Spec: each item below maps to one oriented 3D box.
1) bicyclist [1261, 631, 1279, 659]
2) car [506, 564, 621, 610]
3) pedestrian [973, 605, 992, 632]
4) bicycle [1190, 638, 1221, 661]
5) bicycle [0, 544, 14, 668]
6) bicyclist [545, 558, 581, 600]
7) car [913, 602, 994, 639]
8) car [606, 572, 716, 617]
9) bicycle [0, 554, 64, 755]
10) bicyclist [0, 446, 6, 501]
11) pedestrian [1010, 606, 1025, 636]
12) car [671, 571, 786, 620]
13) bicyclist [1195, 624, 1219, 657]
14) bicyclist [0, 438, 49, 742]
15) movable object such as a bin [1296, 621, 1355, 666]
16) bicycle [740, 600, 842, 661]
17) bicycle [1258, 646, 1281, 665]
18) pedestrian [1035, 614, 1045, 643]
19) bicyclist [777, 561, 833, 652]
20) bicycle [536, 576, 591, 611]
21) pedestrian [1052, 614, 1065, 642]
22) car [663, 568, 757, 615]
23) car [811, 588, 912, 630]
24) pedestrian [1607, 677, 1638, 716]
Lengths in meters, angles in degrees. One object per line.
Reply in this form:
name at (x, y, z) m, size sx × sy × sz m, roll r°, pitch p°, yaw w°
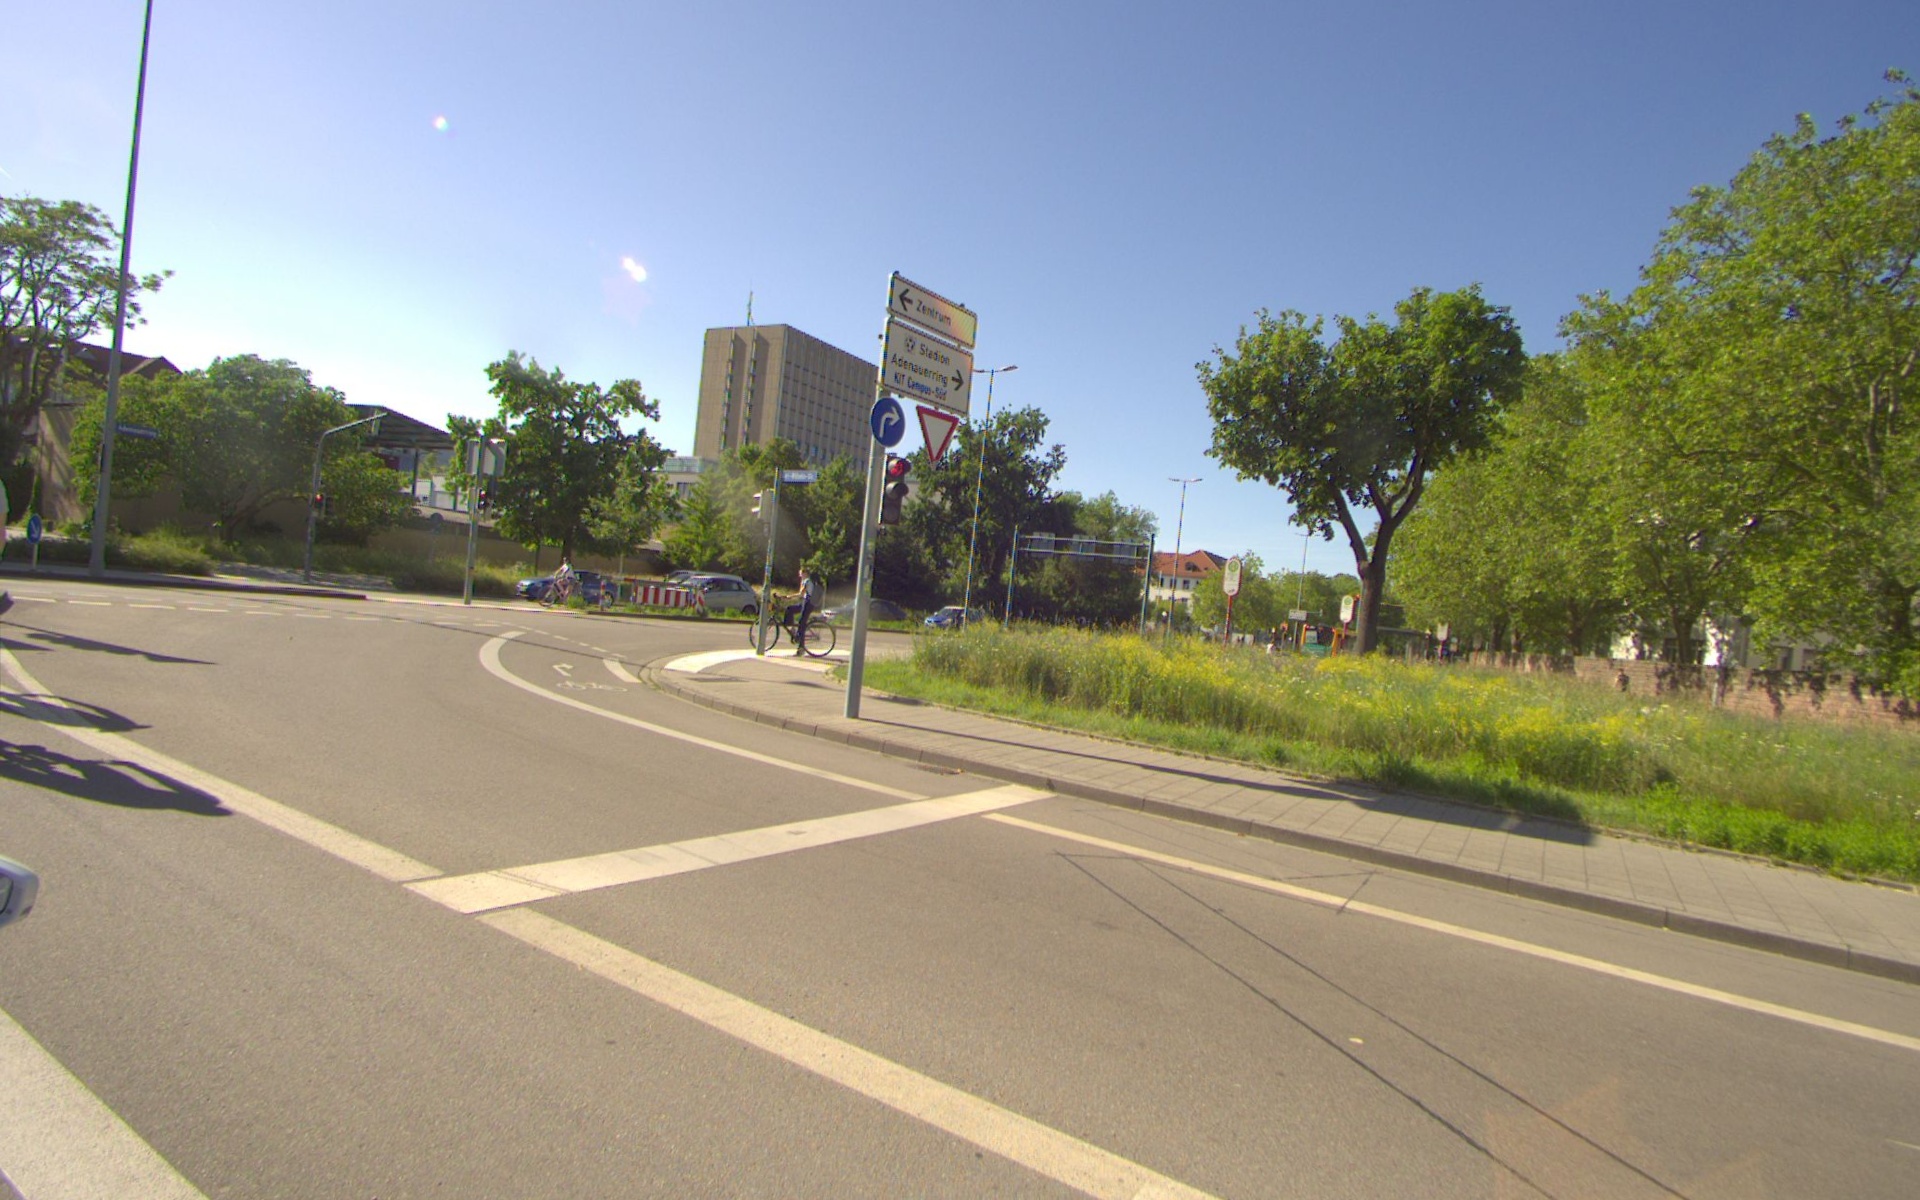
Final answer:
bicyclist at (17.777, 2.601, 57.708) m, size 0.509 × 1.548 × 1.067 m, roll 7°, pitch 2°, yaw 39°
car at (-16.210, -0.528, 41.313) m, size 1.767 × 1.415 × 3.986 m, roll 7°, pitch 0°, yaw 37°
pedestrian at (1.771, 1.472, 80.182) m, size 0.752 × 2.039 × 1.267 m, roll 7°, pitch 1°, yaw 36°
bicycle at (11.935, 2.401, 48.853) m, size 0.640 × 0.986 × 1.895 m, roll 7°, pitch 1°, yaw 39°
bicycle at (-8.221, 0.021, 7.843) m, size 1.890 × 1.102 × 0.690 m, roll 6°, pitch -1°, yaw 32°
bicyclist at (-13.934, -0.725, 35.277) m, size 0.602 × 1.360 × 0.874 m, roll 7°, pitch 1°, yaw 37°
car at (-0.294, 1.048, 50.452) m, size 1.916 × 1.415 × 3.986 m, roll 6°, pitch 0°, yaw 37°
car at (-12.299, -0.203, 41.566) m, size 1.767 × 1.415 × 3.986 m, roll 7°, pitch 0°, yaw 37°
bicycle at (-6.295, 0.234, 6.106) m, size 1.890 × 1.102 × 0.690 m, roll 6°, pitch -1°, yaw 32°
bicyclist at (-8.178, -0.471, 7.848) m, size 1.123 × 1.614 × 0.679 m, roll 7°, pitch 0°, yaw 31°
pedestrian at (4.842, 1.772, 84.211) m, size 0.660 × 2.451 × 0.770 m, roll 6°, pitch -1°, yaw 34°
car at (-8.739, -0.133, 38.284) m, size 1.767 × 1.415 × 3.986 m, roll 7°, pitch 0°, yaw 37°
bicyclist at (11.991, 1.985, 48.860) m, size 0.632 × 1.533 × 1.049 m, roll 7°, pitch 2°, yaw 39°
bicyclist at (-6.297, -0.117, 6.126) m, size 1.123 × 1.813 × 0.684 m, roll 7°, pitch 0°, yaw 32°
movable object such as a bin at (28.046, 3.414, 76.954) m, size 2.954 × 2.898 × 9.178 m, roll 6°, pitch 0°, yaw 27°
bicycle at (-3.290, 0.589, 19.673) m, size 1.856 × 0.970 × 0.635 m, roll 7°, pitch 1°, yaw -10°
bicycle at (17.788, 3.209, 57.806) m, size 0.514 × 1.000 × 1.965 m, roll 7°, pitch 1°, yaw 39°
pedestrian at (7.080, 2.499, 88.656) m, size 0.401 × 2.451 × 0.467 m, roll 6°, pitch -1°, yaw 34°
bicyclist at (-3.036, 0.122, 19.701) m, size 0.898 × 1.667 × 0.630 m, roll 6°, pitch 1°, yaw -9°
bicycle at (-13.928, -0.213, 35.368) m, size 0.602 × 1.046 × 1.681 m, roll 7°, pitch 0°, yaw 37°
pedestrian at (8.774, 2.517, 89.791) m, size 0.710 × 2.451 × 0.585 m, roll 6°, pitch -1°, yaw 34°
car at (-11.843, -0.370, 47.791) m, size 1.767 × 1.771 × 3.986 m, roll 7°, pitch 0°, yaw 37°
car at (-4.309, 0.433, 44.625) m, size 1.767 × 1.415 × 4.557 m, roll 7°, pitch 0°, yaw 37°
pedestrian at (26.215, 3.811, 39.820) m, size 0.712 × 1.460 × 0.523 m, roll 7°, pitch -1°, yaw 2°
